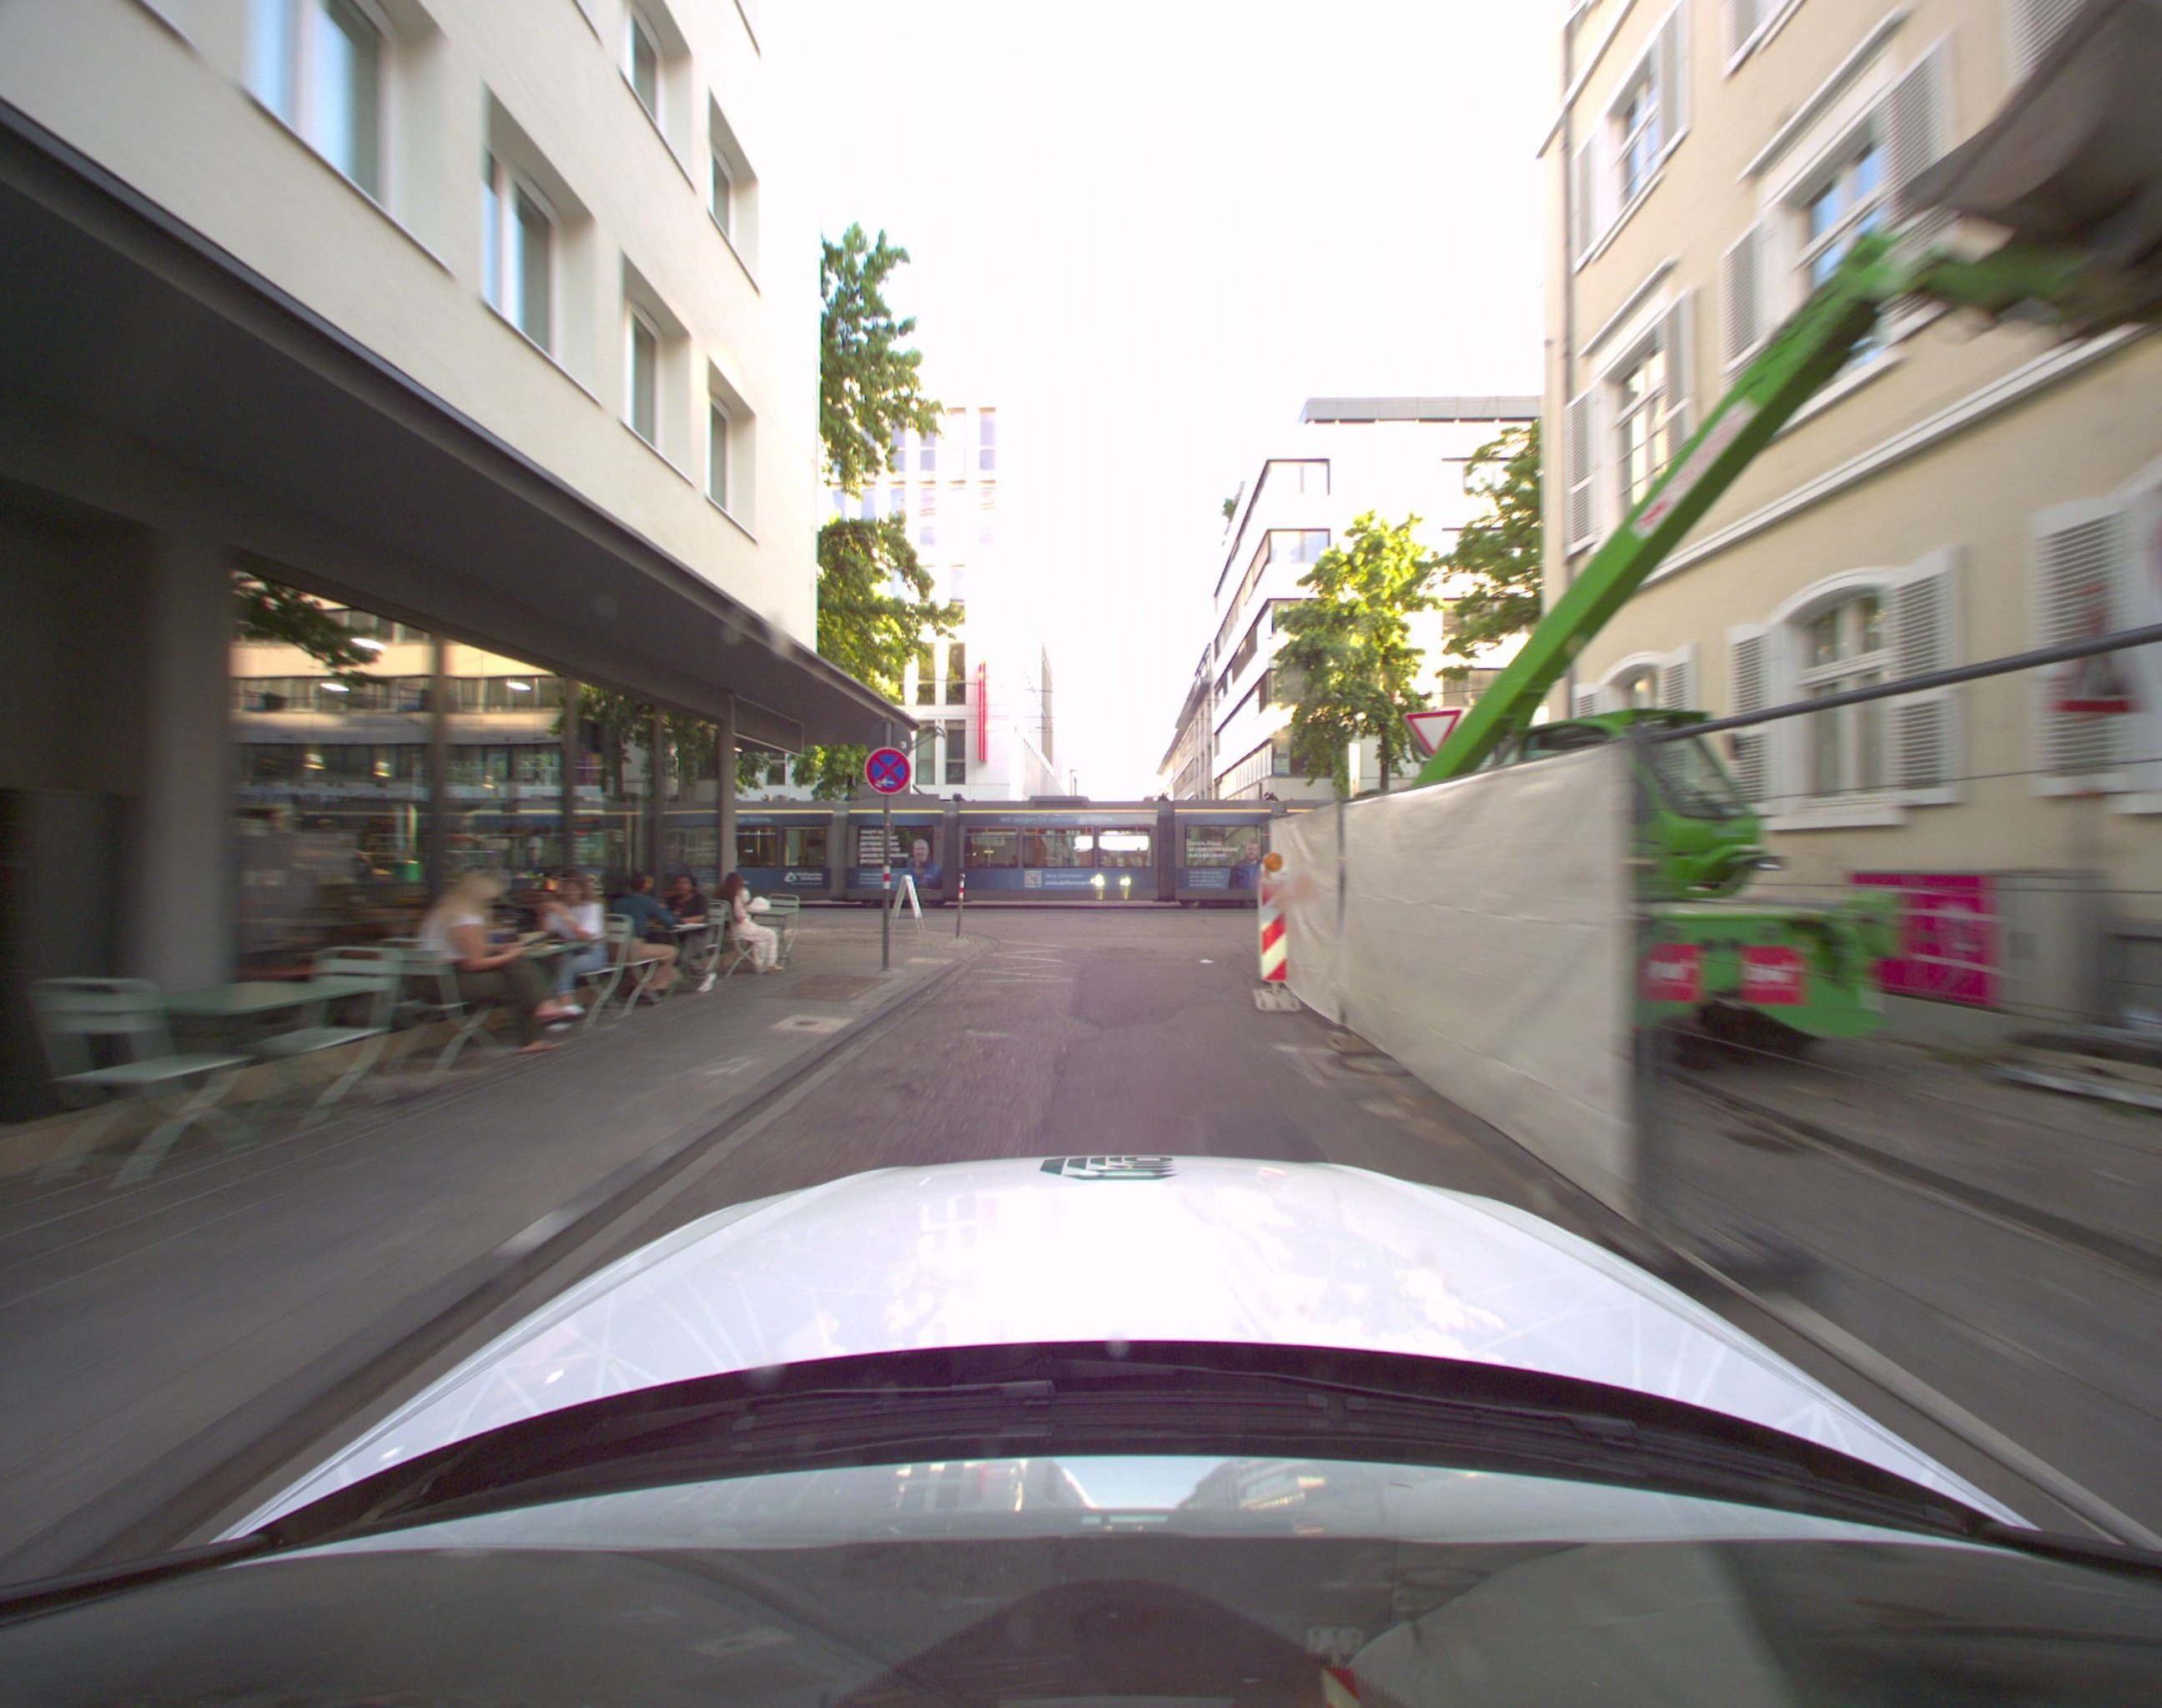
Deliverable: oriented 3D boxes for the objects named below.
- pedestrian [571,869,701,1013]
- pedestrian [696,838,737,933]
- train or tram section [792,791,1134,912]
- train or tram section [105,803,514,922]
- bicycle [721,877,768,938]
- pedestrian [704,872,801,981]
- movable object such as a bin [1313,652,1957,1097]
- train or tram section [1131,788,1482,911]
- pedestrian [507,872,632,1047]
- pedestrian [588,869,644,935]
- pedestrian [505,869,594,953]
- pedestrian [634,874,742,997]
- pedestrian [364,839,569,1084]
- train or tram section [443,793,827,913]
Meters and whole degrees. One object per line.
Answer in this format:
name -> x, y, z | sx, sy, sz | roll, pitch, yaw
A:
pedestrian -> -4.179, 0.790, 7.701 | 0.700, 1.240, 0.779 | 3, 0, 5
pedestrian -> -6.866, 0.581, 15.323 | 0.643, 1.741, 0.774 | 0, -2, -29
train or tram section -> -3.531, -0.031, 26.087 | 10.328, 3.524, 3.018 | -1, -1, 1
train or tram section -> -24.799, 0.324, 26.553 | 10.456, 3.524, 3.055 | -1, -2, 1
bicycle -> -6.836, 1.051, 16.499 | 0.782, 1.139, 1.851 | -1, -2, -26
pedestrian -> -3.967, 0.843, 9.859 | 0.697, 1.219, 0.847 | 0, -1, 39
movable object such as a bin -> 4.441, 0.134, 8.145 | 2.627, 2.872, 5.564 | -1, 0, 0
train or tram section -> 6.794, -0.109, 25.853 | 10.297, 3.524, 3.027 | -1, -1, 1
pedestrian -> -4.121, 0.803, 6.629 | 0.707, 1.286, 0.854 | 0, -1, -22
pedestrian -> -10.072, 1.029, 17.664 | 0.786, 1.377, 0.696 | -1, -2, 4
pedestrian -> -8.757, 0.918, 13.455 | 0.874, 1.320, 0.851 | -1, -2, 6
pedestrian -> -4.113, 0.829, 8.565 | 0.700, 1.195, 0.692 | 3, 0, 5
pedestrian -> -4.192, 0.677, 5.622 | 0.699, 1.547, 0.863 | 0, -1, 10
train or tram section -> -14.087, 0.000, 26.326 | 10.768, 3.524, 3.014 | -1, -1, 1
